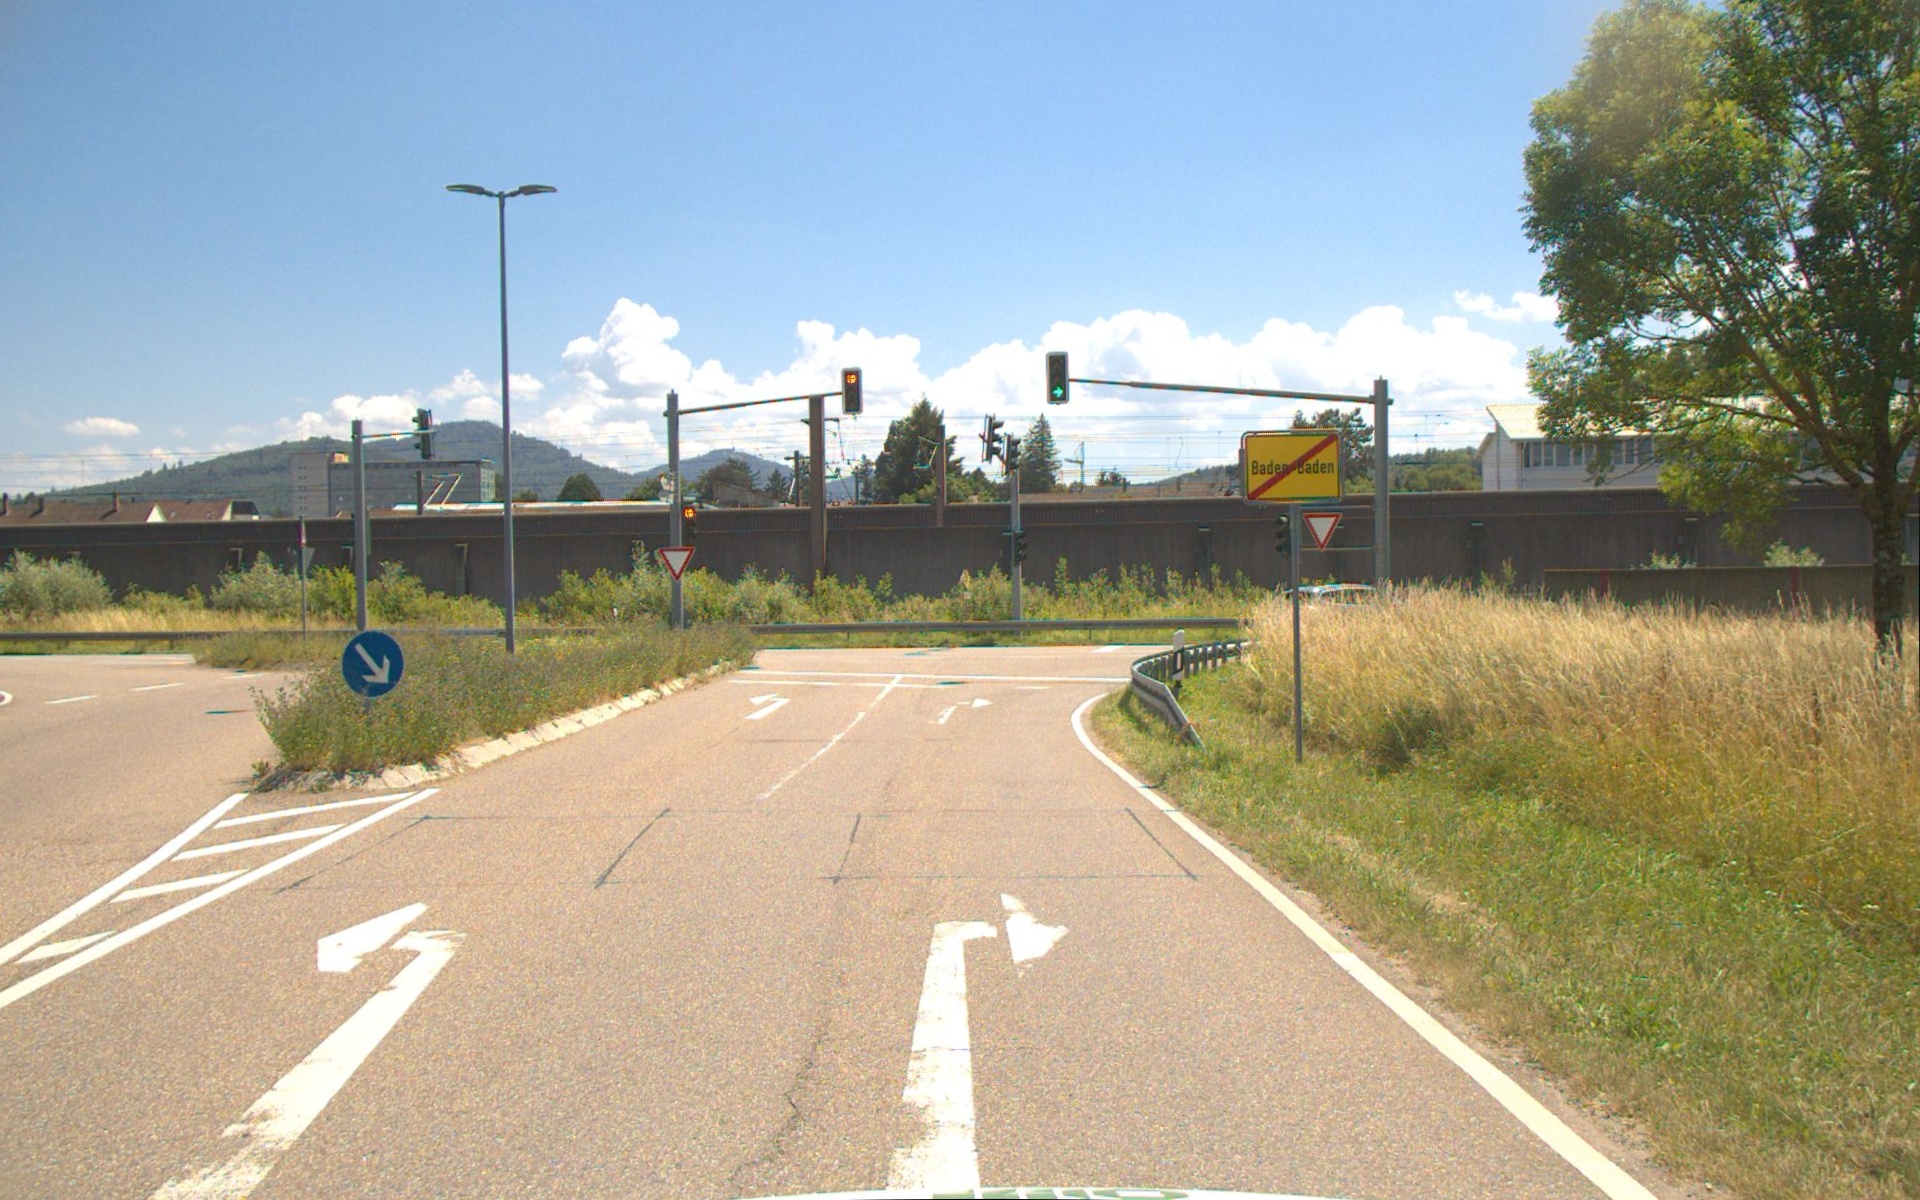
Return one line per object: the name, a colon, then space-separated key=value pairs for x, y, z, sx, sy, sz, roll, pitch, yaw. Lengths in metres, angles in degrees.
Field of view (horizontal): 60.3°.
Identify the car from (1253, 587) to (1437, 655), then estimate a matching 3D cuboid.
car: x=9.108 y=0.474 z=39.147 sx=3.941 sy=1.529 sz=1.982 roll=0 pitch=0 yaw=-28
